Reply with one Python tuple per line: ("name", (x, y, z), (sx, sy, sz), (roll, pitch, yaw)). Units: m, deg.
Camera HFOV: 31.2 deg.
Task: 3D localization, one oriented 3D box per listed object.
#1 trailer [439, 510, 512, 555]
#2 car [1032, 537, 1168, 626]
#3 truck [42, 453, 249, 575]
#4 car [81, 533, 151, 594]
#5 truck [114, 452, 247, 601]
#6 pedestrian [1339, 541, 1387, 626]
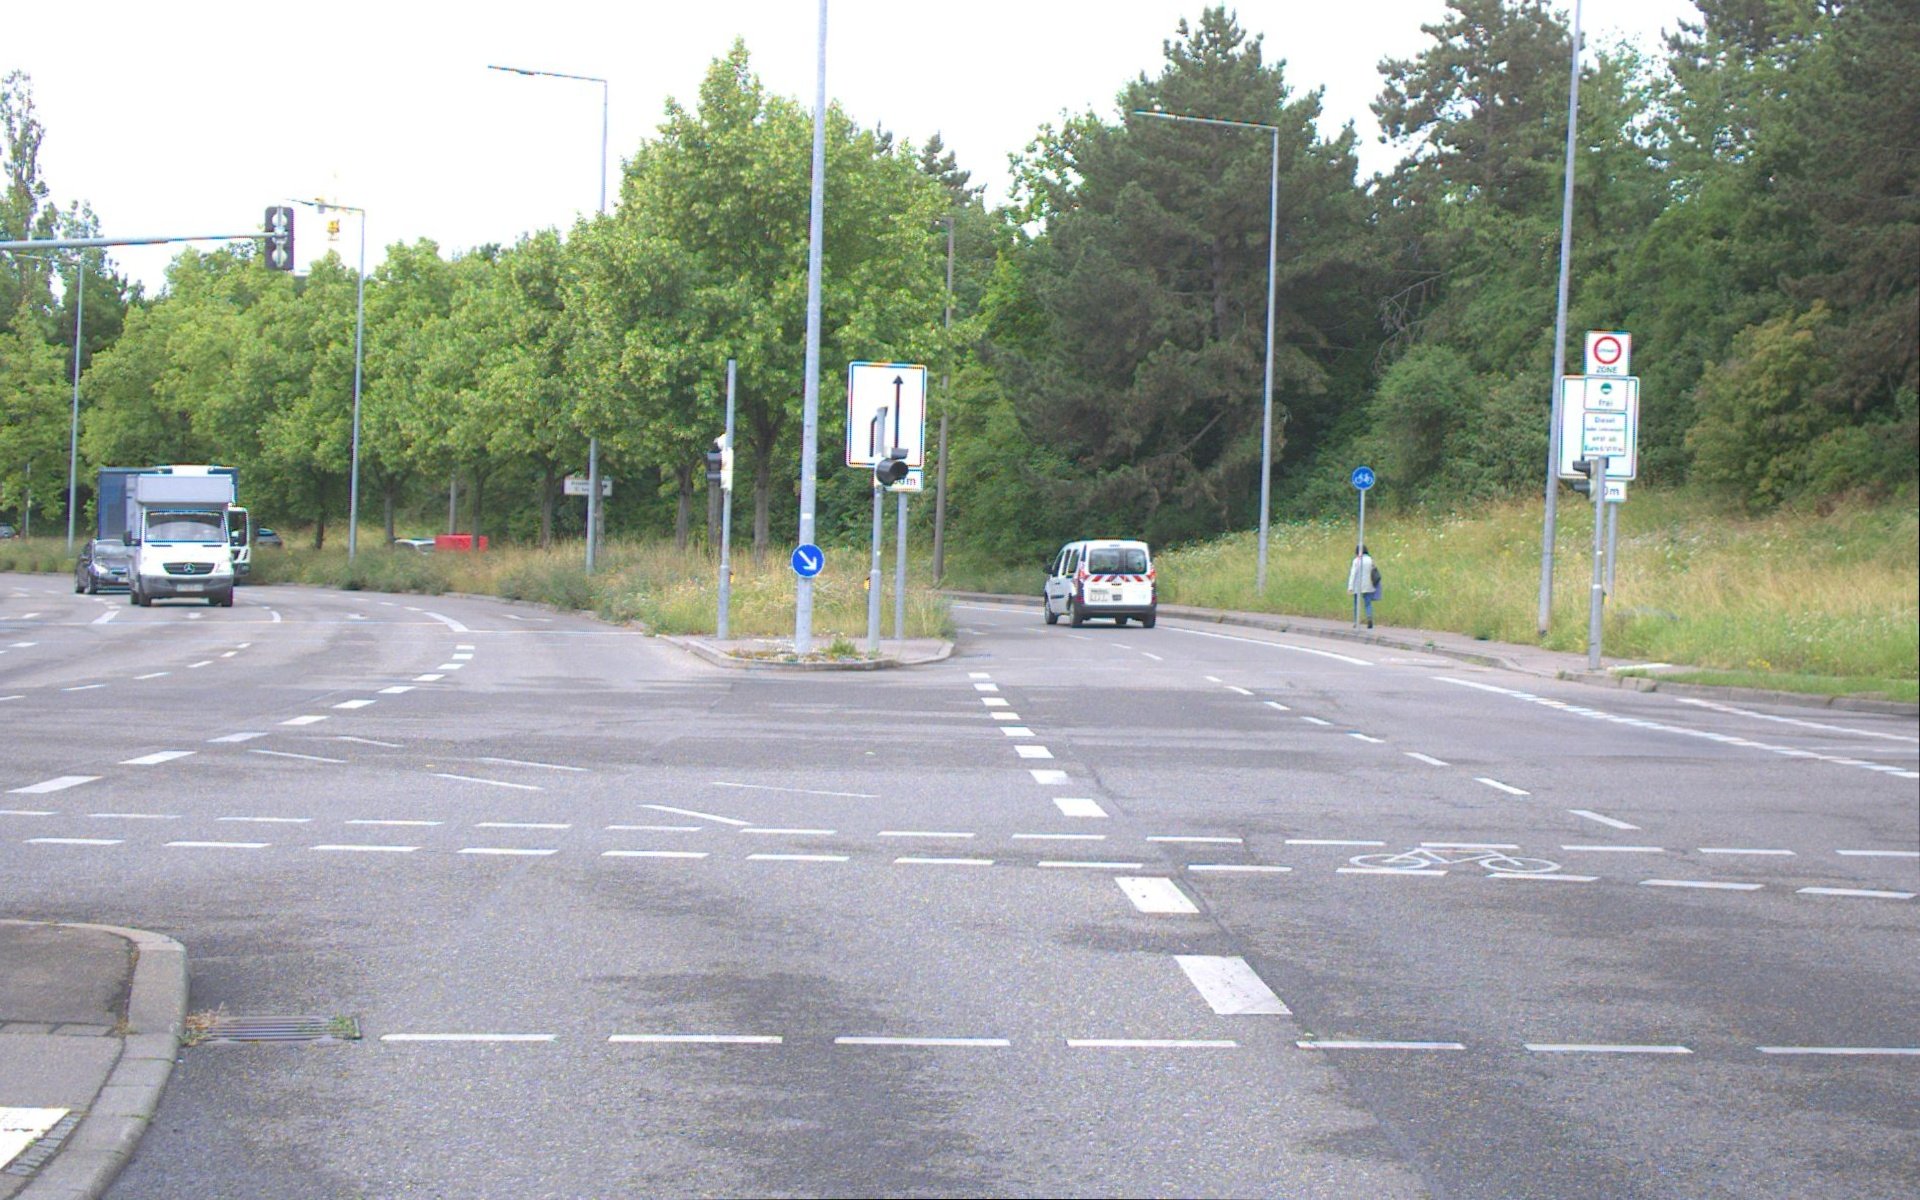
("trailer", (-17.830, -2.497, 126.447), (1.764, 1.610, 3.044), (0, 1, -27))
("car", (2.894, -0.397, 72.318), (1.994, 1.796, 4.840), (0, 0, -8))
("truck", (-26.981, -2.782, 113.329), (3.048, 3.747, 12.814), (1, 1, -30))
("car", (-22.789, -1.008, 92.968), (1.780, 1.441, 4.530), (-1, 3, -13))
("truck", (-17.176, -1.593, 75.583), (2.115, 3.124, 5.902), (1, 1, -20))
("pedestrian", (7.795, -0.322, 66.495), (0.814, 1.622, 0.791), (1, 1, -1))
